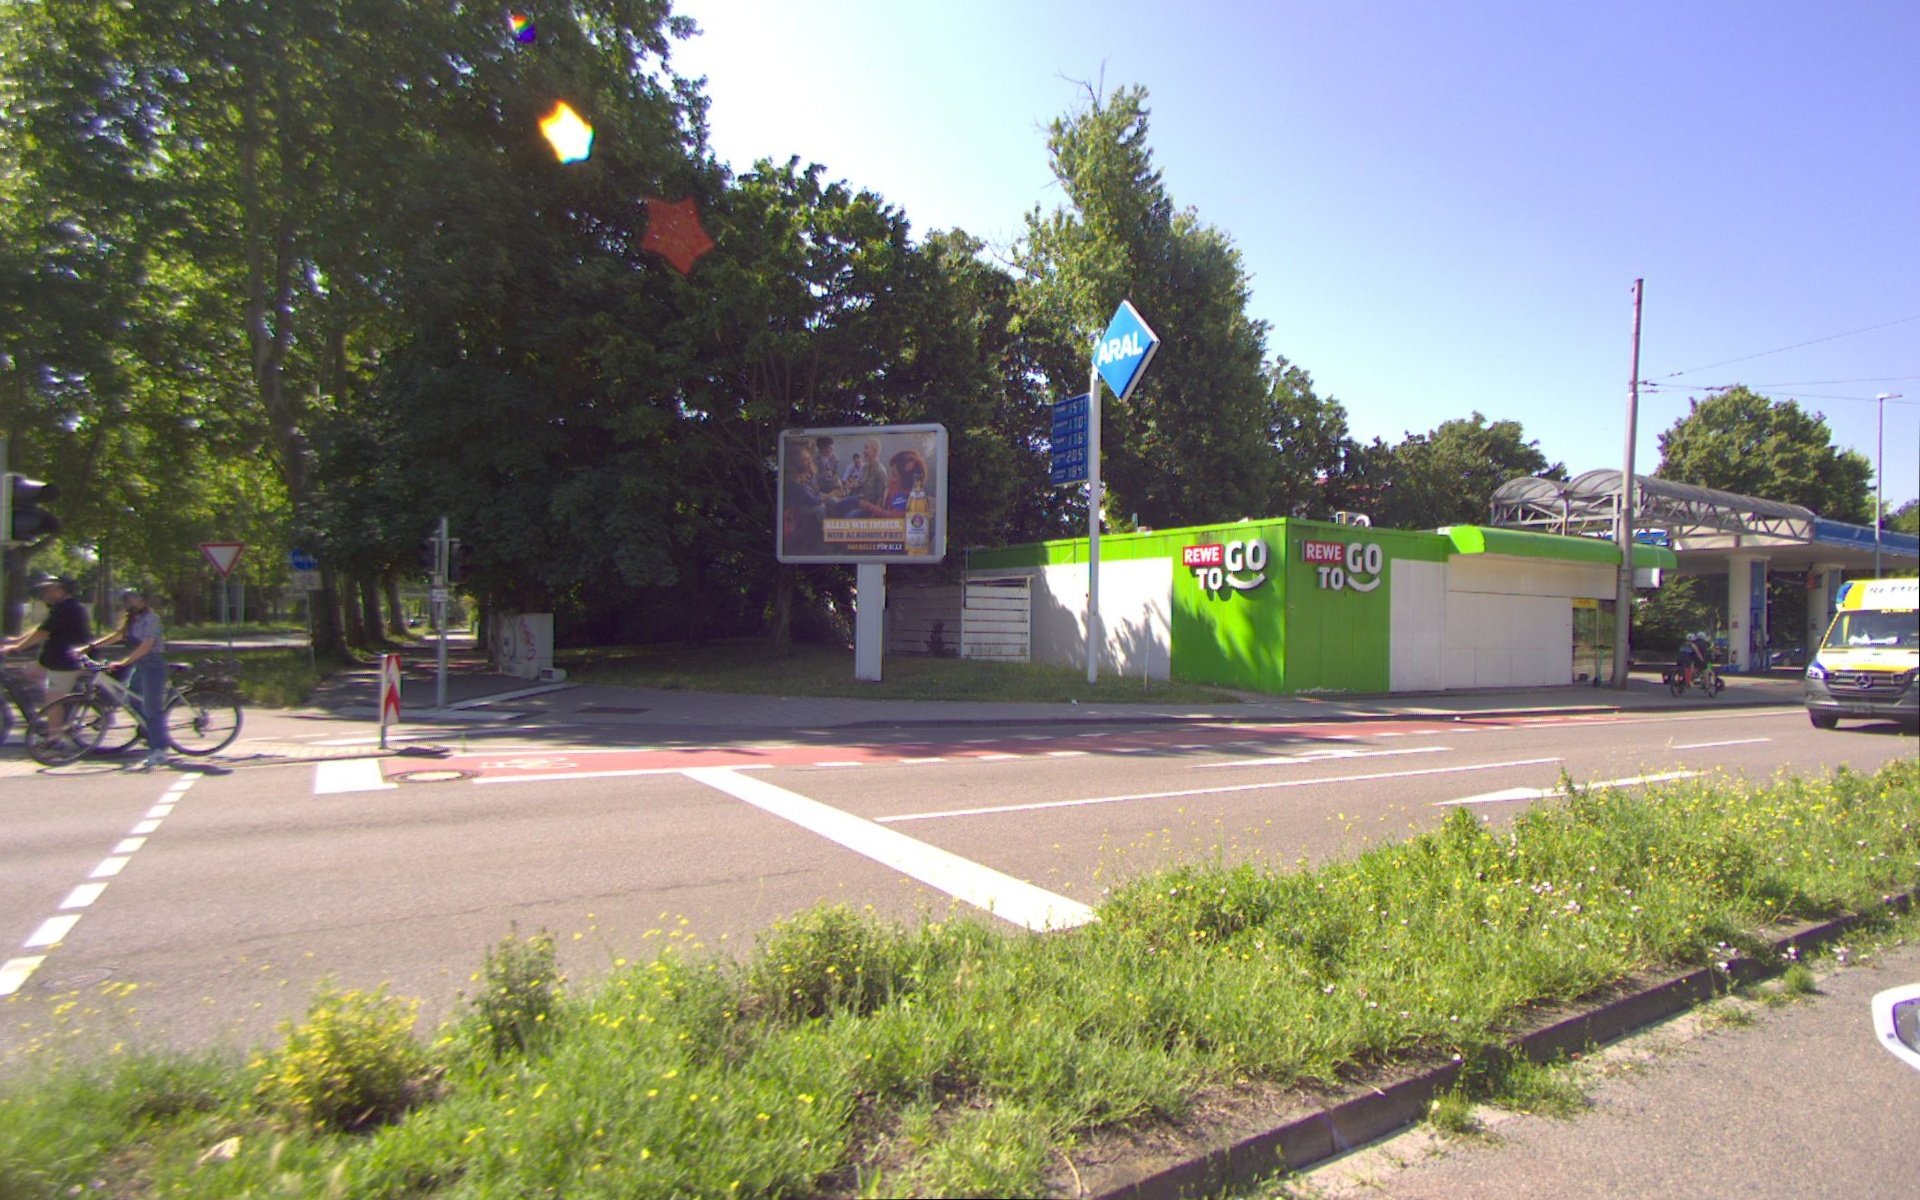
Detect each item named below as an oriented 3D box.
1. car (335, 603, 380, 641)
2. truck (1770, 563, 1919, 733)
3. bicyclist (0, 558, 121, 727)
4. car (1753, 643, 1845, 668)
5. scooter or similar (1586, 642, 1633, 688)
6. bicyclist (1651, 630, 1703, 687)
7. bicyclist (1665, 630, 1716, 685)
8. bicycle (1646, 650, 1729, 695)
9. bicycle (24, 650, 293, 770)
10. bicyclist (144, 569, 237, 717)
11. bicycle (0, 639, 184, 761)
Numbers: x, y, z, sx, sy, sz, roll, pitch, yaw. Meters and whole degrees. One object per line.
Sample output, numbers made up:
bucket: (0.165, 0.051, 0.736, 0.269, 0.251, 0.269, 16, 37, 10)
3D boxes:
car: (-38.549, 1.423, 64.358, 1.974, 2.347, 4.628, 1, -1, -26)
truck: (17.980, 0.871, 18.568, 7.274, 2.703, 2.319, 2, -2, -31)
bicyclist: (-9.519, 0.428, 10.658, 0.817, 1.696, 0.831, 0, 0, -32)
car: (49.116, 3.265, 58.843, 4.165, 1.363, 1.803, 1, -1, -8)
scooter or similar: (18.226, 1.825, 28.177, 1.326, 1.253, 0.440, 1, -1, -22)
bicyclist: (18.938, 1.526, 26.542, 0.822, 1.455, 0.844, 0, 0, -27)
bicyclist: (19.524, 1.524, 26.846, 0.822, 1.454, 0.843, 2, -2, -28)
bicycle: (19.450, 1.907, 26.832, 2.741, 1.109, 0.821, 2, -1, -32)
bicycle: (-8.066, 1.062, 10.212, 2.059, 1.072, 0.744, 2, -2, -41)
bicyclist: (-7.899, 0.421, 10.304, 0.733, 1.439, 0.702, 0, 1, -40)
bicycle: (-9.576, 1.012, 10.494, 2.185, 1.190, 0.933, 2, -1, -30)
